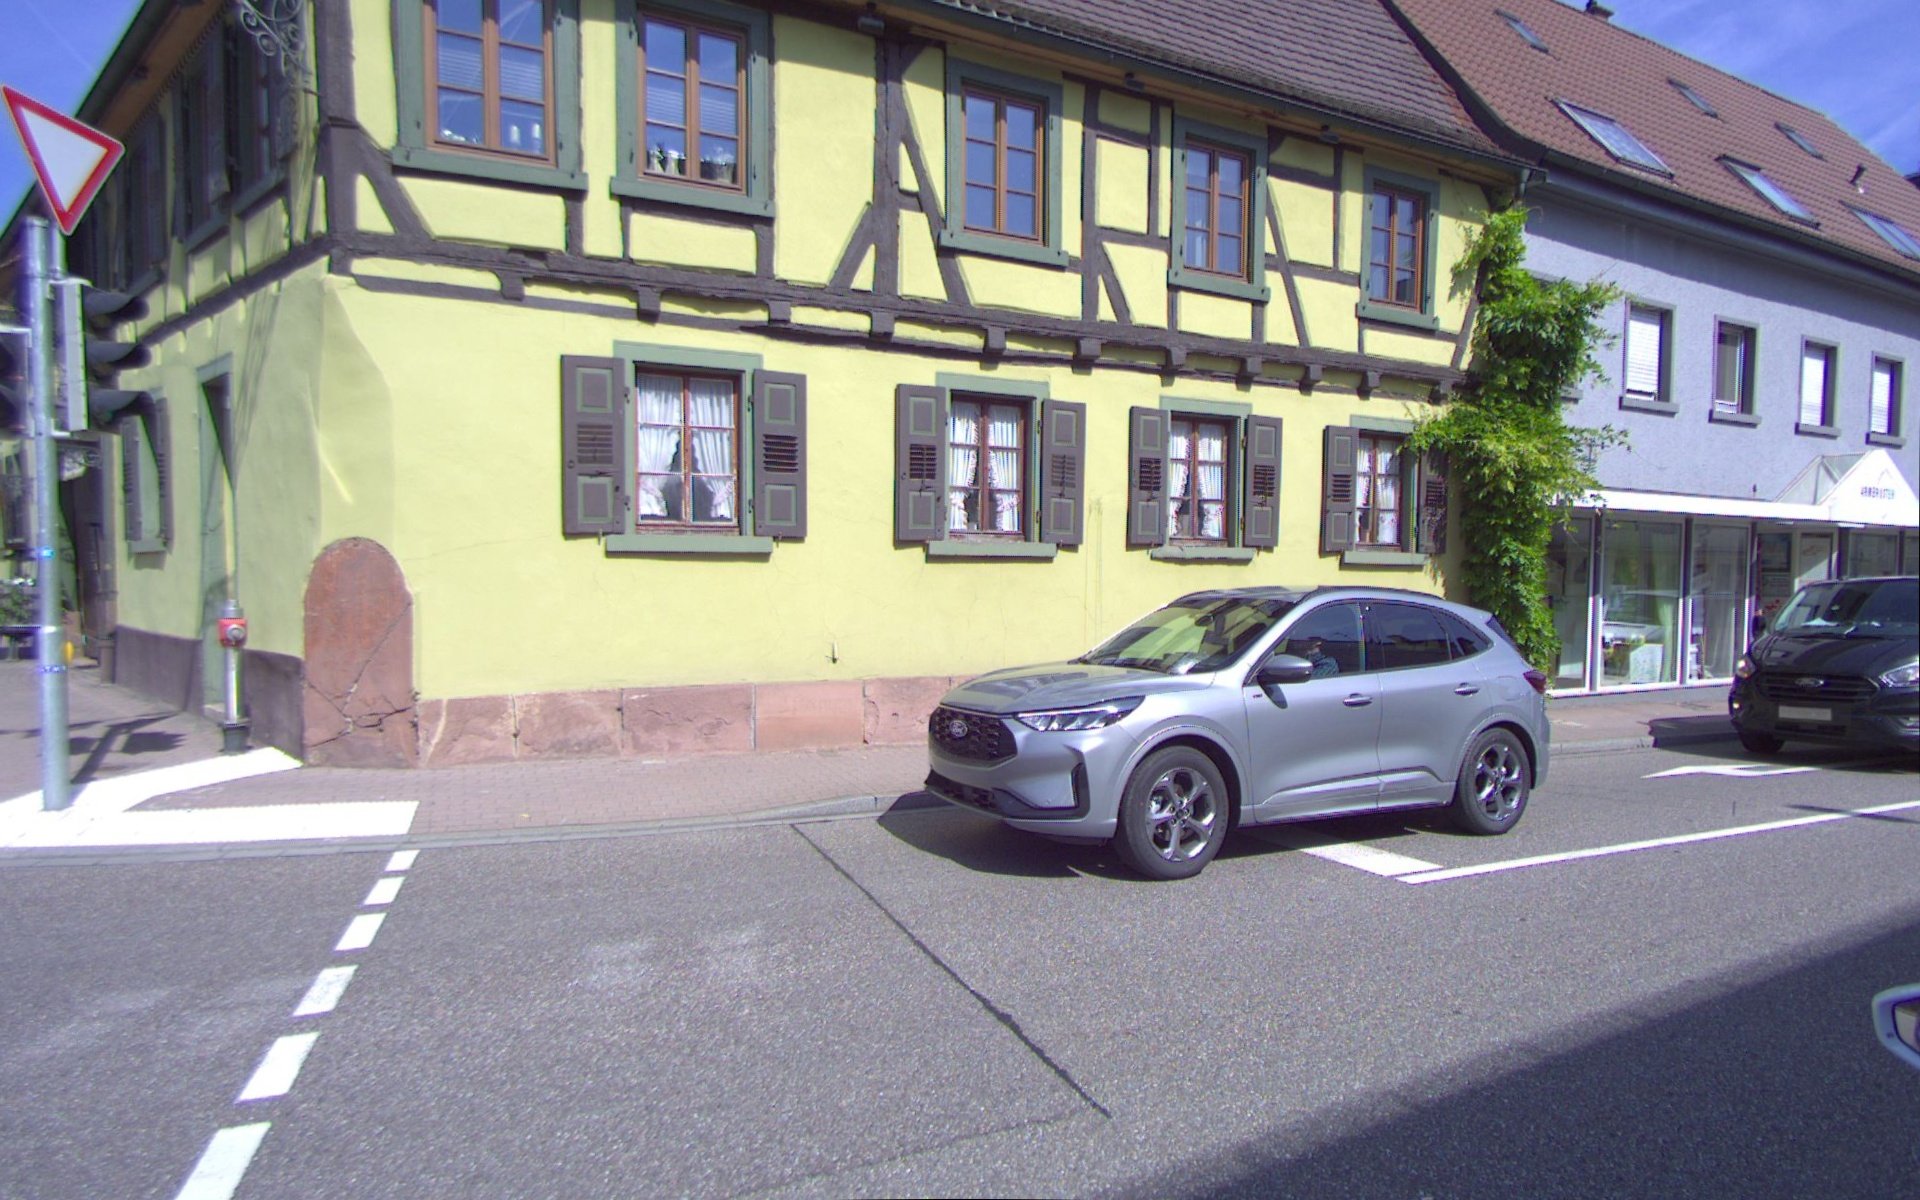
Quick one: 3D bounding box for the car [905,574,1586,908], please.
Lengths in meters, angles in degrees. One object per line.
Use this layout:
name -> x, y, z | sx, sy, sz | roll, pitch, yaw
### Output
car -> 1.983, 0.716, 6.698 | 4.372, 1.631, 1.749 | 1, 0, -28

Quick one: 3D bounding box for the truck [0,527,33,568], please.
truck -> -90.395, -4.957, 95.244 | 3.214, 3.596, 9.105 | 3, 0, -45

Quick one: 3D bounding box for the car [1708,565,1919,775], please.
car -> 10.856, 0.682, 11.111 | 5.099, 1.949, 2.151 | 1, 0, -28
